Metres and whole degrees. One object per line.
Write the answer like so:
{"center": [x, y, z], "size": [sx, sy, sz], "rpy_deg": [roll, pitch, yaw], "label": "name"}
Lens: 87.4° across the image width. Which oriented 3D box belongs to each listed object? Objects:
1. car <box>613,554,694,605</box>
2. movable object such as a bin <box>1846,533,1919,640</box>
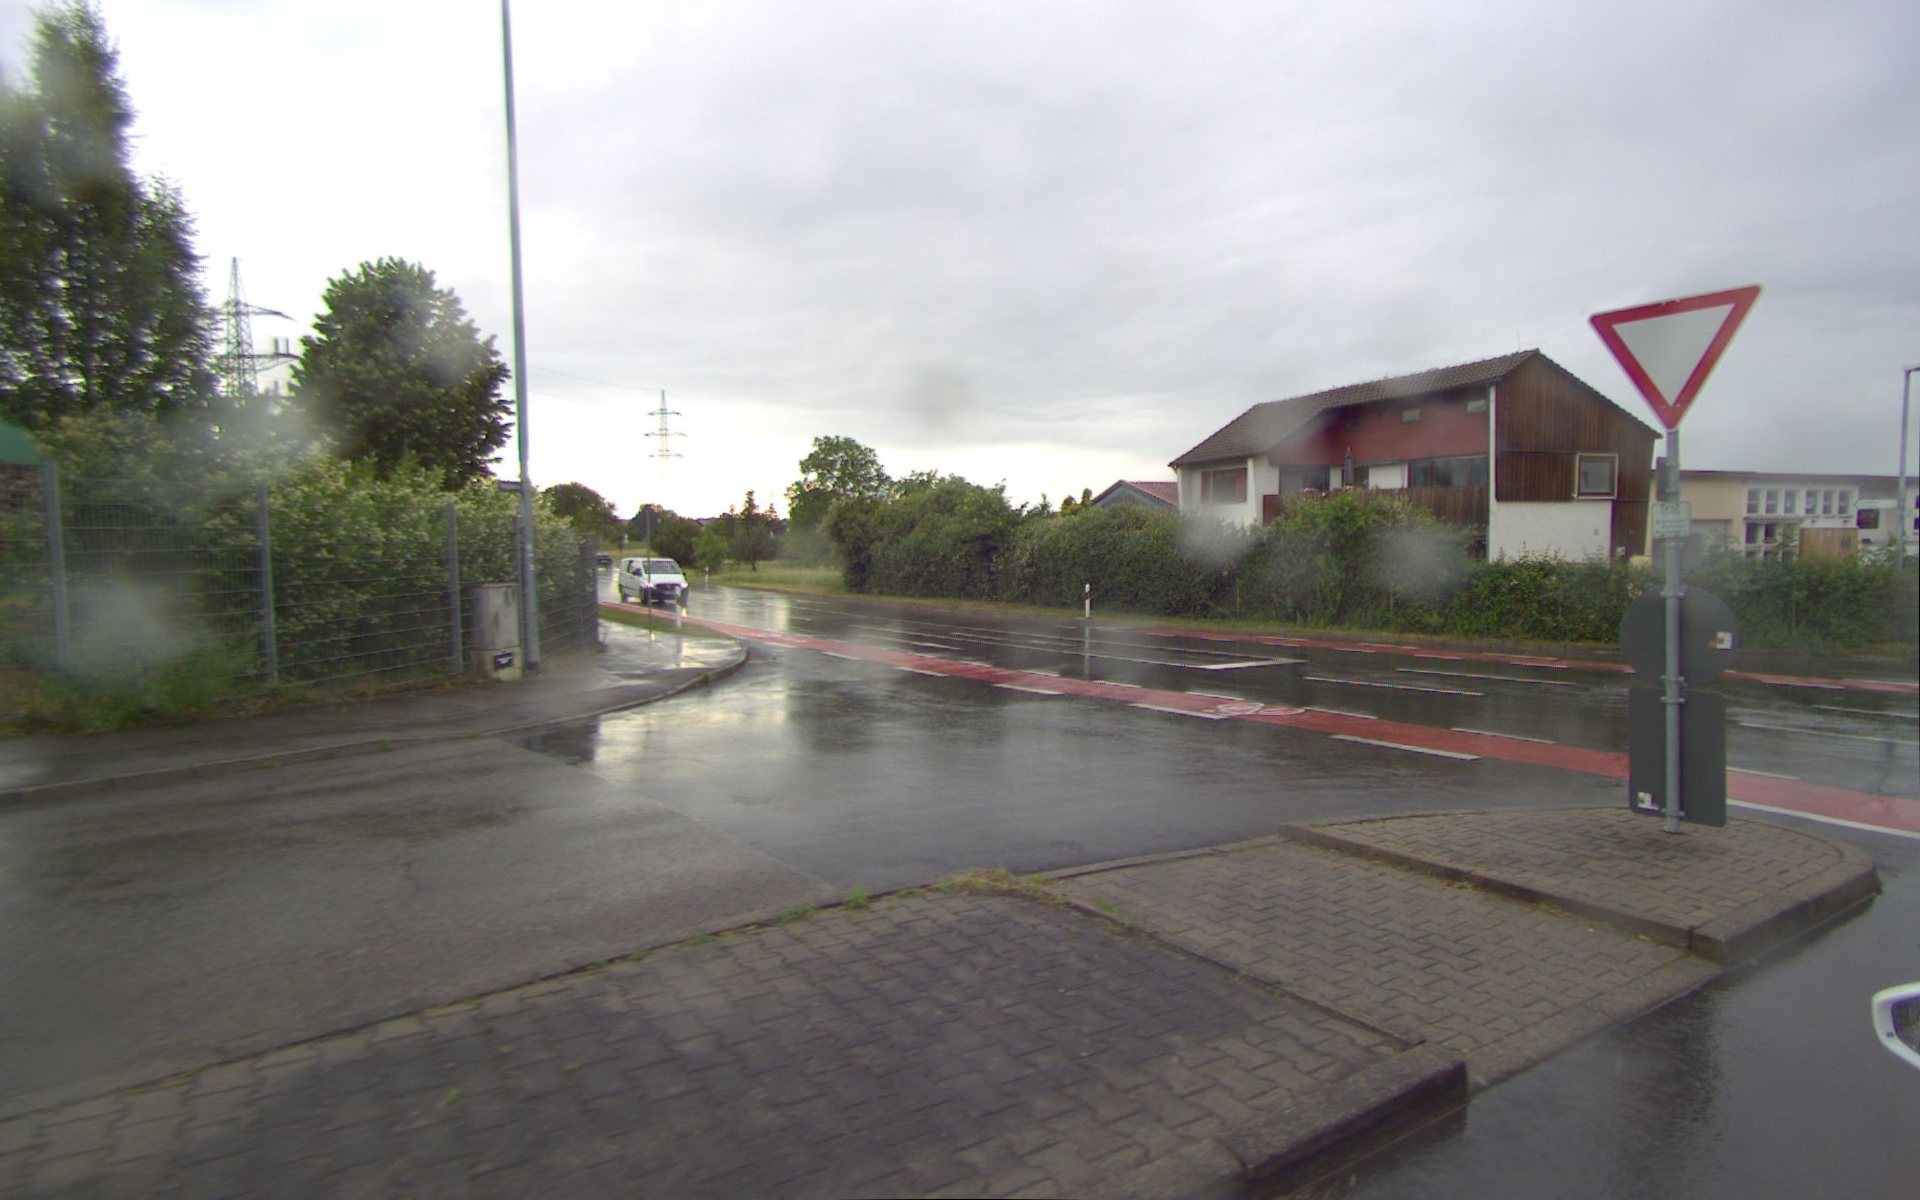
{"center": [-13.183, -0.914, 42.992], "size": [1.885, 2.045, 5.321], "rpy_deg": [-1, 2, -34], "label": "car"}
{"center": [24.364, -0.326, 25.454], "size": [3.296, 2.591, 1.726], "rpy_deg": [0, 1, -27], "label": "movable object such as a bin"}
